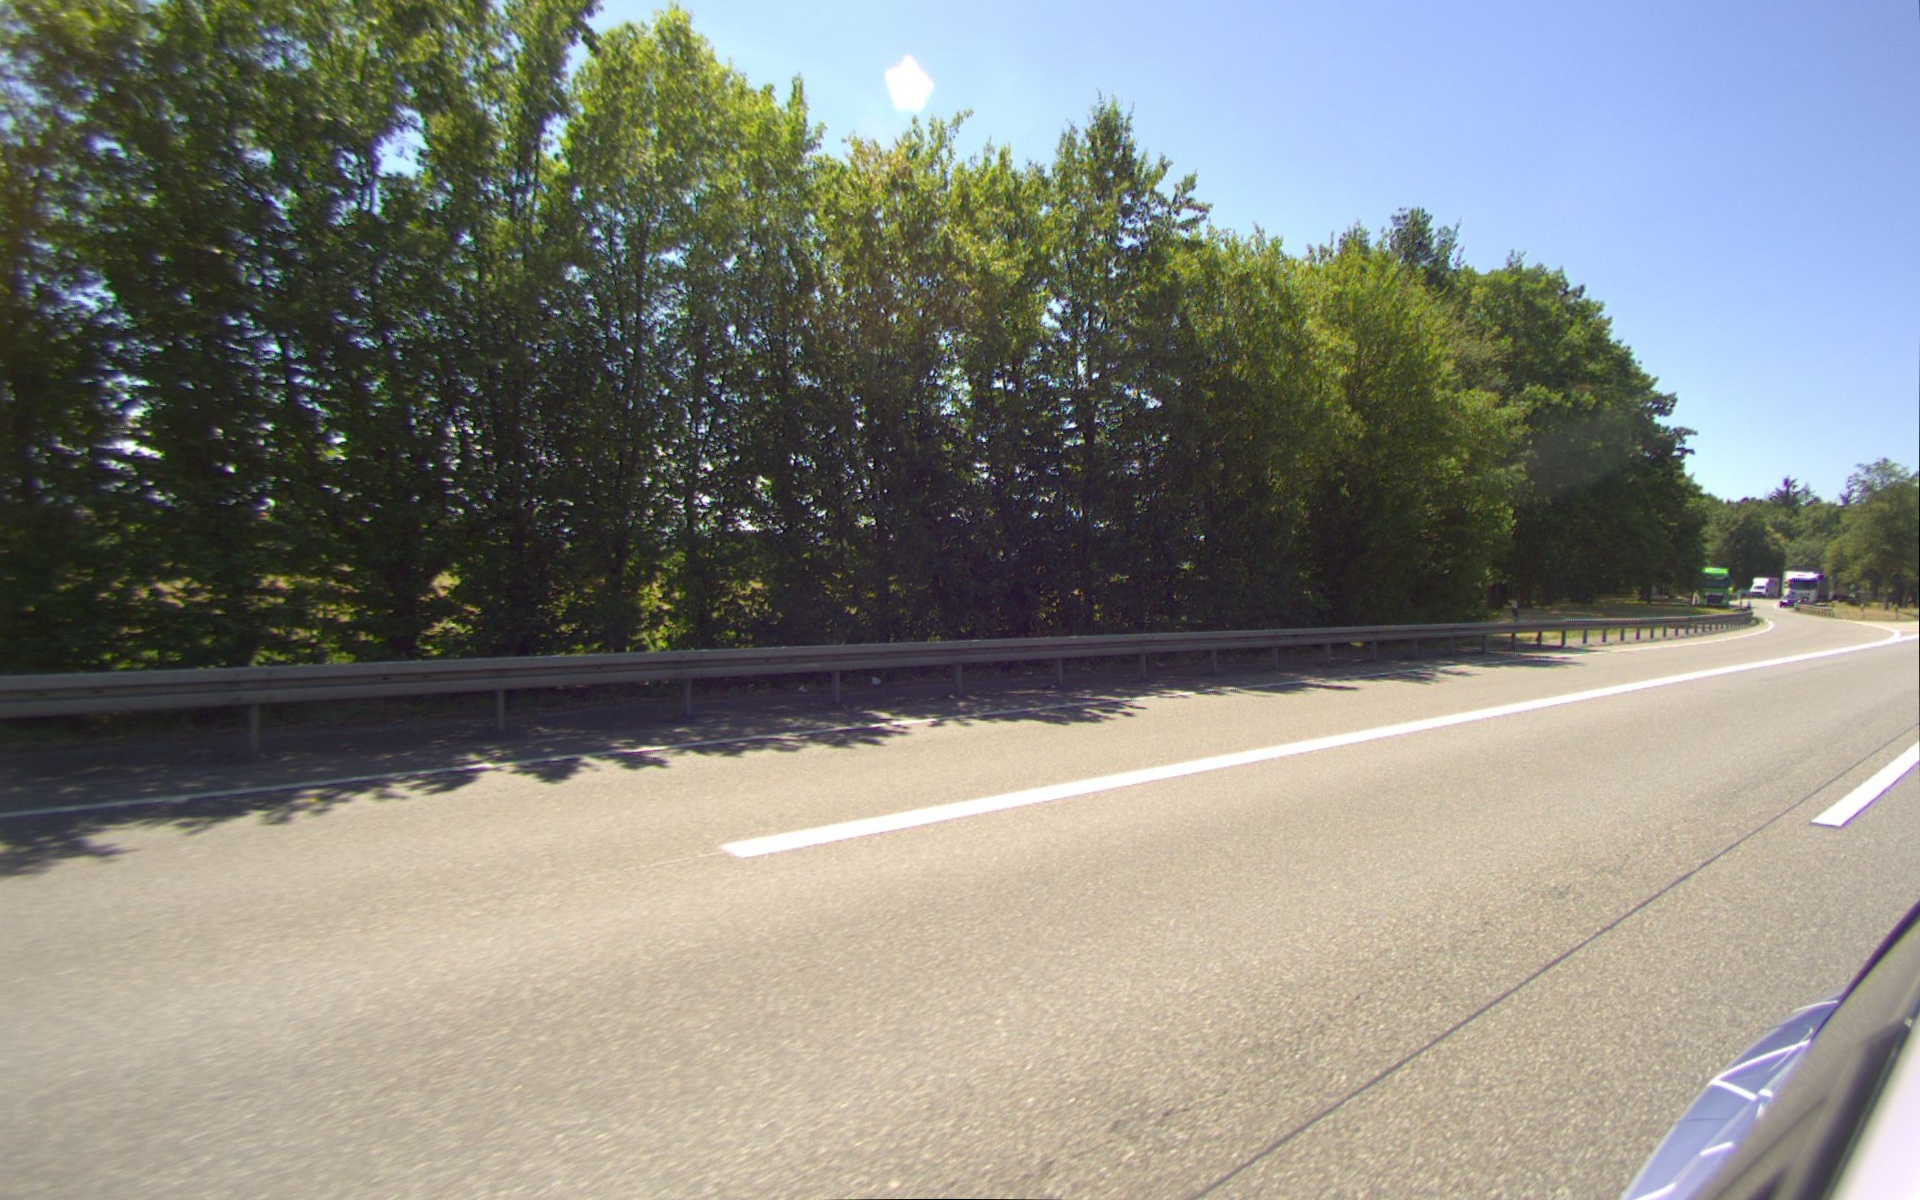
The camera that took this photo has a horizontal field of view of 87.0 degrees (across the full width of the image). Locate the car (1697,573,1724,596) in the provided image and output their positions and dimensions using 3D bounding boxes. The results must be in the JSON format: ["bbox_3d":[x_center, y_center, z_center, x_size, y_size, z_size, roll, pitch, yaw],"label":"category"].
[{"bbox_3d":[88.903,-1.851,119.839,2.303,2.614,6.558,4,3,38],"label":"car"}]

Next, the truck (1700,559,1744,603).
[{"bbox_3d":[77.399,-1.877,102.873,3.374,4.312,6.530,0,0,36],"label":"truck"}]

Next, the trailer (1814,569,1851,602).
[{"bbox_3d":[124.390,-2.059,144.116,3.382,4.519,17.847,2,2,43],"label":"trailer"}]

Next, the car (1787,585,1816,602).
[{"bbox_3d":[92.500,-0.750,111.263,4.604,1.731,1.995,-1,4,-45],"label":"car"}]

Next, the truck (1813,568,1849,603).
[{"bbox_3d":[118.221,-1.985,137.390,3.383,4.519,8.106,2,1,43],"label":"truck"}]

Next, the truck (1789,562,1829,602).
[{"bbox_3d":[99.315,-2.042,118.481,3.377,4.519,7.287,0,0,38],"label":"truck"}]
